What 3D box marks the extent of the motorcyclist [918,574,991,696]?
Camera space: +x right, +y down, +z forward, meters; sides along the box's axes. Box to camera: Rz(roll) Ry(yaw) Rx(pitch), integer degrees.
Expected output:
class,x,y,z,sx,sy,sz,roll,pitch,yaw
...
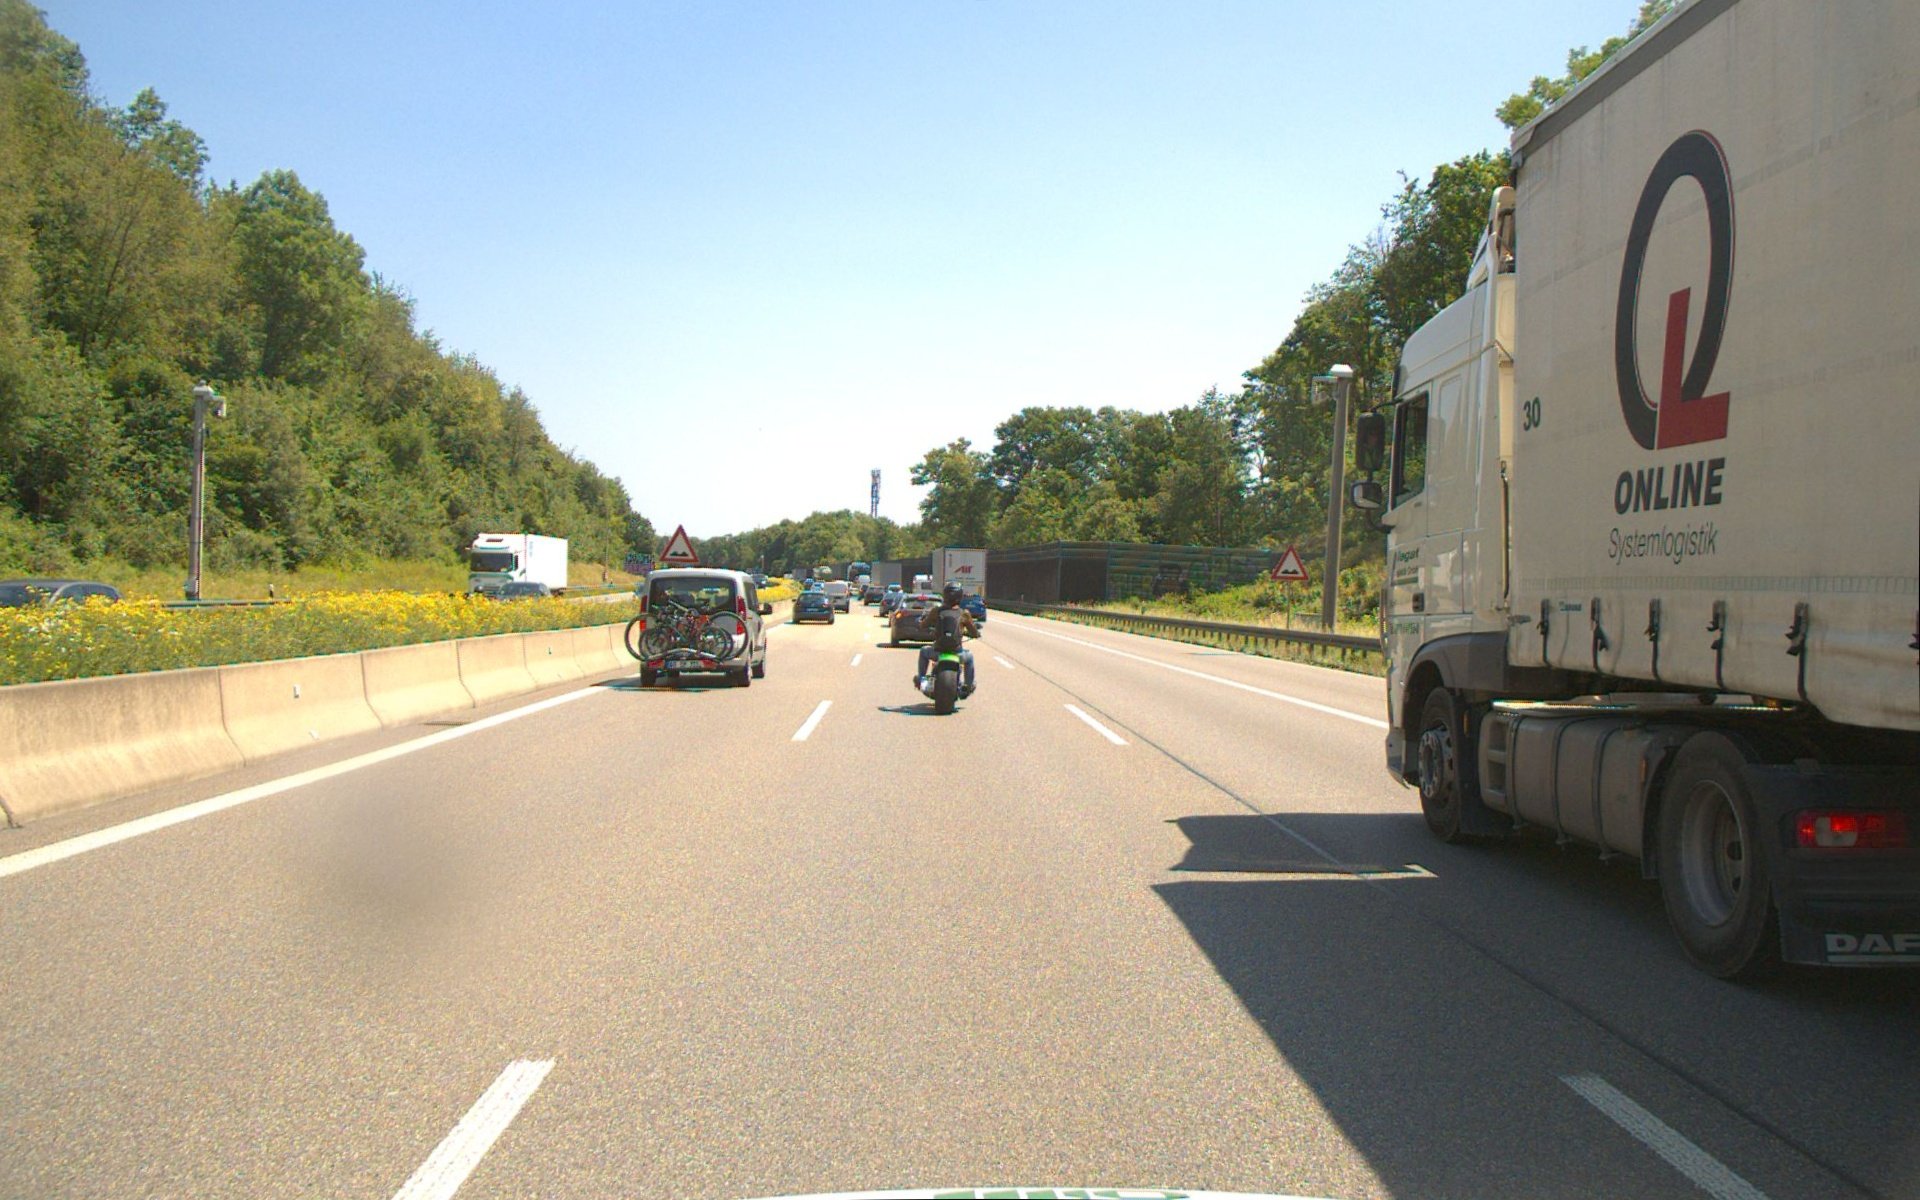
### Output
class,x,y,z,sx,sy,sz,roll,pitch,yaw
motorcyclist,-0.068,0.438,21.370,0.881,1.500,1.872,1,-1,0

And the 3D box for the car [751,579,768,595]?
class,x,y,z,sx,sy,sz,roll,pitch,yaw
car,-26.059,-1.654,214.847,1.954,2.049,4.417,1,0,-4

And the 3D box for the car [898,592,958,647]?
class,x,y,z,sx,sy,sz,roll,pitch,yaw
car,-0.957,0.552,47.362,1.629,1.478,3.867,1,0,-2

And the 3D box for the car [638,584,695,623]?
class,x,y,z,sx,sy,sz,roll,pitch,yaw
car,-13.154,0.141,74.354,1.953,1.707,4.079,1,0,-2

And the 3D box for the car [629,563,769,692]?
class,x,y,z,sx,sy,sz,roll,pitch,yaw
car,-4.156,0.431,26.955,1.862,1.906,4.408,1,0,-4

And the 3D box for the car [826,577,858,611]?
class,x,y,z,sx,sy,sz,roll,pitch,yaw
car,-7.318,-0.368,102.808,1.755,2.049,3.640,1,-1,-2

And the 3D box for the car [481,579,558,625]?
class,x,y,z,sx,sy,sz,roll,pitch,yaw
car,-16.407,0.057,61.808,1.909,1.670,3.978,1,0,-2

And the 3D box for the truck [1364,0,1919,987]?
class,x,y,z,sx,sy,sz,roll,pitch,yaw
truck,4.402,-0.697,9.242,2.729,4.278,5.869,1,1,0

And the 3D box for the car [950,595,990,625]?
class,x,y,z,sx,sy,sz,roll,pitch,yaw
car,0.499,0.511,87.375,1.619,1.508,4.475,1,0,-7

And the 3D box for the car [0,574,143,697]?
class,x,y,z,sx,sy,sz,roll,pitch,yaw
car,-14.585,0.484,25.575,1.953,1.758,3.999,1,0,-1

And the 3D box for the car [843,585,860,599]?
class,x,y,z,sx,sy,sz,roll,pitch,yaw
car,-12.026,-0.872,183.365,1.797,1.522,3.739,1,0,-5

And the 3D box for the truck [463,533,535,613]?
class,x,y,z,sx,sy,sz,roll,pitch,yaw
truck,-24.795,-1.396,89.179,2.636,4.161,5.199,1,-1,-3

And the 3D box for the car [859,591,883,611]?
class,x,y,z,sx,sy,sz,roll,pitch,yaw
car,-7.470,0.093,138.512,1.954,1.669,3.996,1,0,-4

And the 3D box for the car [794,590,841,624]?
class,x,y,z,sx,sy,sz,roll,pitch,yaw
car,-6.312,0.324,73.413,1.954,1.411,3.997,1,0,-4

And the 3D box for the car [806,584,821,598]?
class,x,y,z,sx,sy,sz,roll,pitch,yaw
car,-17.137,-1.014,193.384,1.797,1.522,3.739,1,0,-5

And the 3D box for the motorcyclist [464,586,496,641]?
class,x,y,z,sx,sy,sz,roll,pitch,yaw
motorcyclist,-11.856,0.329,40.886,0.610,1.357,0.577,1,0,-2

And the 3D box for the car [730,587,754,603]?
class,x,y,z,sx,sy,sz,roll,pitch,yaw
car,-21.617,-0.510,164.339,1.953,1.512,3.998,1,0,-3

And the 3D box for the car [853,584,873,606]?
class,x,y,z,sx,sy,sz,roll,pitch,yaw
car,-9.674,-0.493,164.711,1.875,2.049,3.686,1,-1,-6

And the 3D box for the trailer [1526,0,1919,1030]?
class,x,y,z,sx,sy,sz,roll,pitch,yaw
trailer,4.483,-0.678,2.265,2.729,4.278,13.243,1,1,0

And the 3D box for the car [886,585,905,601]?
class,x,y,z,sx,sy,sz,roll,pitch,yaw
car,-7.182,-0.758,182.894,1.954,1.601,3.997,1,0,-4

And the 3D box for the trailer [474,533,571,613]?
class,x,y,z,sx,sy,sz,roll,pitch,yaw
trailer,-25.212,-1.388,96.046,2.661,4.281,13.922,1,0,-3

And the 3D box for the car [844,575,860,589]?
class,x,y,z,sx,sy,sz,roll,pitch,yaw
car,-15.236,-2.509,233.699,2.068,1.909,3.993,1,-1,-7

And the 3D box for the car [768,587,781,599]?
class,x,y,z,sx,sy,sz,roll,pitch,yaw
car,-29.086,-1.111,259.417,1.799,1.881,3.773,1,-1,-5

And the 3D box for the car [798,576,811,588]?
class,x,y,z,sx,sy,sz,roll,pitch,yaw
car,-21.984,-2.532,234.291,1.797,1.522,3.739,1,0,-6

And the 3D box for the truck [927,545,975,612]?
class,x,y,z,sx,sy,sz,roll,pitch,yaw
truck,-0.621,-1.402,108.543,2.828,4.218,5.982,1,0,-3

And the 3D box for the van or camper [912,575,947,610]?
class,x,y,z,sx,sy,sz,roll,pitch,yaw
van or camper,-2.650,-0.566,141.161,2.632,2.862,6.796,1,0,-4

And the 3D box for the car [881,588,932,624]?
class,x,y,z,sx,sy,sz,roll,pitch,yaw
car,-2.349,0.263,71.560,1.955,1.455,3.843,1,0,-5

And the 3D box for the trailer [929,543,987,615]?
class,x,y,z,sx,sy,sz,roll,pitch,yaw
trailer,-0.250,-1.279,101.727,2.828,4.109,13.787,1,1,-3

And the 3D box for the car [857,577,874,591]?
class,x,y,z,sx,sy,sz,roll,pitch,yaw
car,-13.032,-2.178,228.257,2.068,1.909,3.993,1,-1,-7

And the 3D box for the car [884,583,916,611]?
class,x,y,z,sx,sy,sz,roll,pitch,yaw
car,-3.408,-0.152,93.799,1.744,1.579,3.583,1,0,-3

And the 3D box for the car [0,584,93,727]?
class,x,y,z,sx,sy,sz,roll,pitch,yaw
car,-11.231,0.592,17.870,1.726,1.536,3.998,1,0,-2

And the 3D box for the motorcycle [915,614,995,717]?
class,x,y,z,sx,sy,sz,roll,pitch,yaw
motorcycle,-0.070,0.801,21.432,0.945,1.168,2.811,1,1,0

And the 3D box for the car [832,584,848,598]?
class,x,y,z,sx,sy,sz,roll,pitch,yaw
car,-14.640,-1.086,201.395,1.797,1.522,3.739,1,0,-5

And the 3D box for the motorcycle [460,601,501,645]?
class,x,y,z,sx,sy,sz,roll,pitch,yaw
motorcycle,-11.857,0.569,40.901,0.611,1.051,1.466,1,0,-2

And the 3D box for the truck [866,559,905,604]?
class,x,y,z,sx,sy,sz,roll,pitch,yaw
truck,-8.786,-2.096,194.844,3.731,5.046,8.934,1,-1,-8
